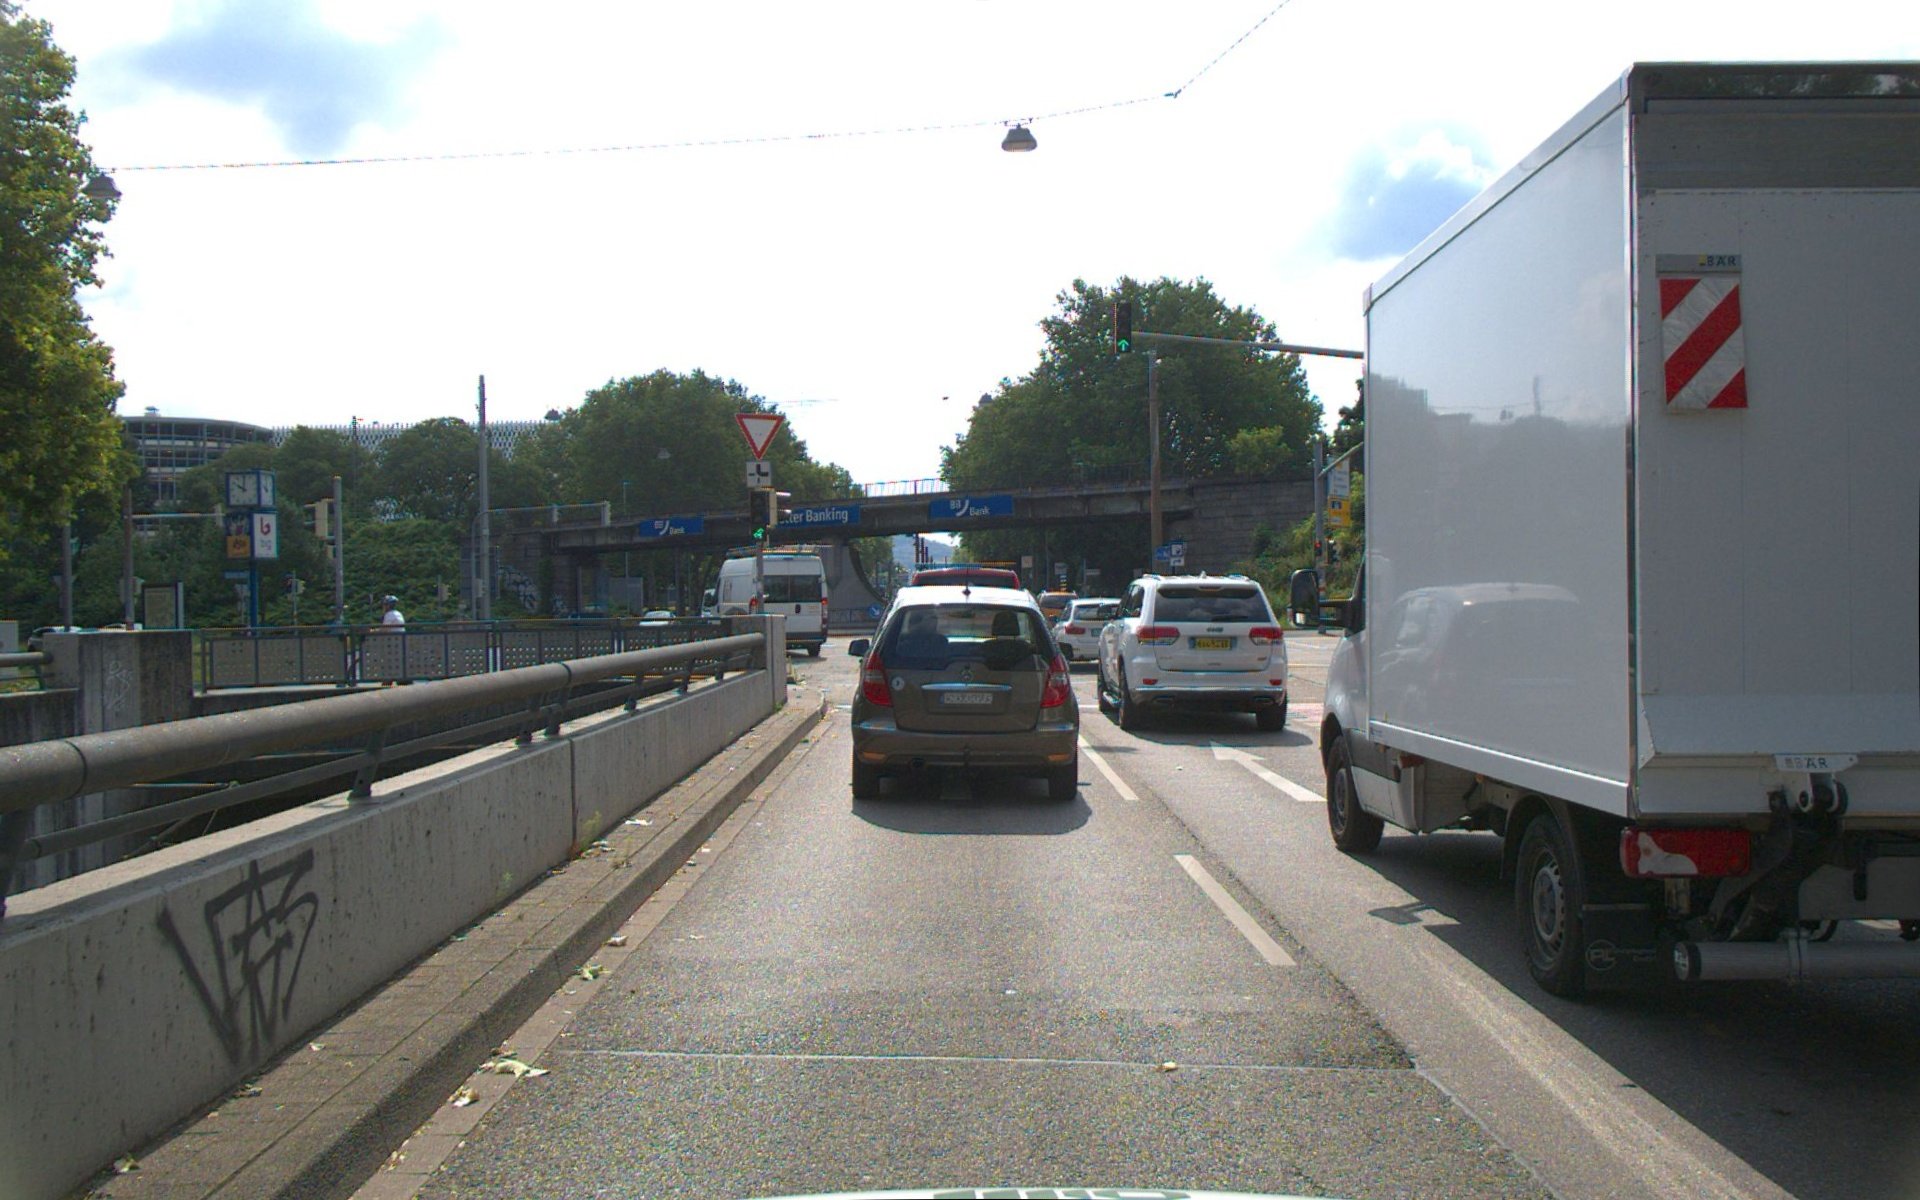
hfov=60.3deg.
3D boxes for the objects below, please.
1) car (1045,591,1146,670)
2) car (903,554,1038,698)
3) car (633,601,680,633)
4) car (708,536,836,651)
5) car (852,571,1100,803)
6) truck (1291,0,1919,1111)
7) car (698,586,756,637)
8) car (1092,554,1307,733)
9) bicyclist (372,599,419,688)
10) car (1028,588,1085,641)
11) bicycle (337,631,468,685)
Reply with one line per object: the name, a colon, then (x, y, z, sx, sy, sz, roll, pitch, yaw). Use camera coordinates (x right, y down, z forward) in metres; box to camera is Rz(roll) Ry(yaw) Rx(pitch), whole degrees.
car: (2.786, 0.641, 34.604, 1.814, 1.548, 3.616, 0, -1, 0)
car: (0.139, 0.374, 26.080, 1.915, 2.052, 4.676, 0, 0, 0)
car: (-15.669, 0.873, 85.533, 1.668, 1.502, 3.999, -4, 0, -1)
car: (-4.895, -0.100, 42.433, 2.165, 2.774, 4.901, 1, -1, -20)
car: (0.107, 0.610, 13.655, 1.755, 1.636, 3.798, 0, 0, 0)
truck: (3.276, -0.131, 7.669, 2.396, 3.176, 6.028, 0, 0, 1)
car: (-12.332, 0.614, 87.886, 2.211, 2.570, 5.627, -1, 0, 1)
car: (2.784, 0.443, 20.210, 1.954, 1.934, 4.509, 0, 1, 0)
bicyclist: (-9.240, 0.705, 27.093, 0.499, 1.429, 0.626, -1, 0, 4)
car: (2.881, 0.451, 49.901, 1.512, 1.548, 3.616, 0, -1, 0)
bicycle: (-9.121, 0.947, 27.094, 1.931, 0.841, 0.612, 0, 0, 3)
